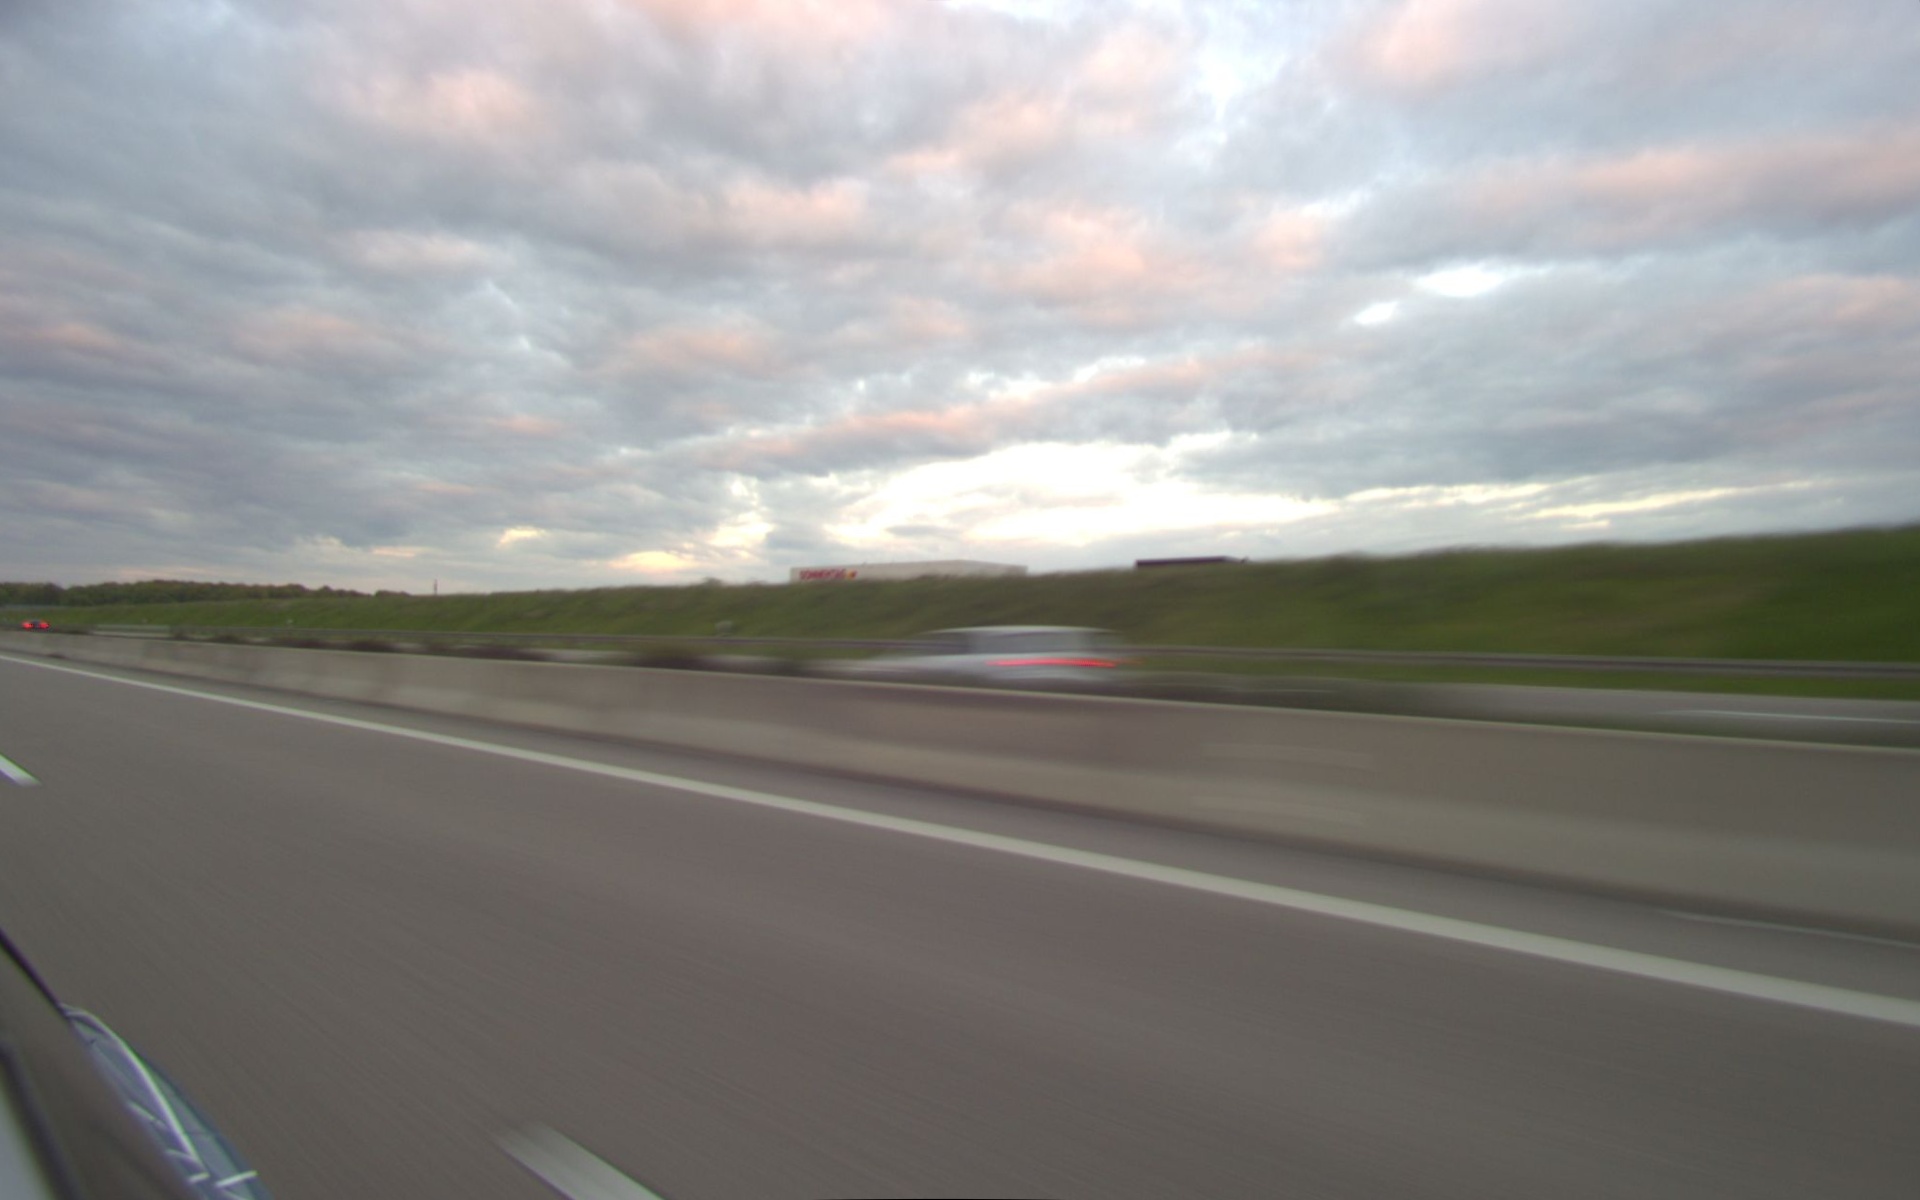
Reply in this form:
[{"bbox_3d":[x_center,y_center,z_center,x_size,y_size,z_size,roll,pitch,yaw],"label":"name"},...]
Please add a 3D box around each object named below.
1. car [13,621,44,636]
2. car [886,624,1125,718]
[{"bbox_3d":[-108.681,3.306,118.104,5.195,1.614,1.973,-1,-2,40],"label":"car"},{"bbox_3d":[0.731,1.210,18.610,4.406,1.518,1.507,-1,-1,40],"label":"car"}]
